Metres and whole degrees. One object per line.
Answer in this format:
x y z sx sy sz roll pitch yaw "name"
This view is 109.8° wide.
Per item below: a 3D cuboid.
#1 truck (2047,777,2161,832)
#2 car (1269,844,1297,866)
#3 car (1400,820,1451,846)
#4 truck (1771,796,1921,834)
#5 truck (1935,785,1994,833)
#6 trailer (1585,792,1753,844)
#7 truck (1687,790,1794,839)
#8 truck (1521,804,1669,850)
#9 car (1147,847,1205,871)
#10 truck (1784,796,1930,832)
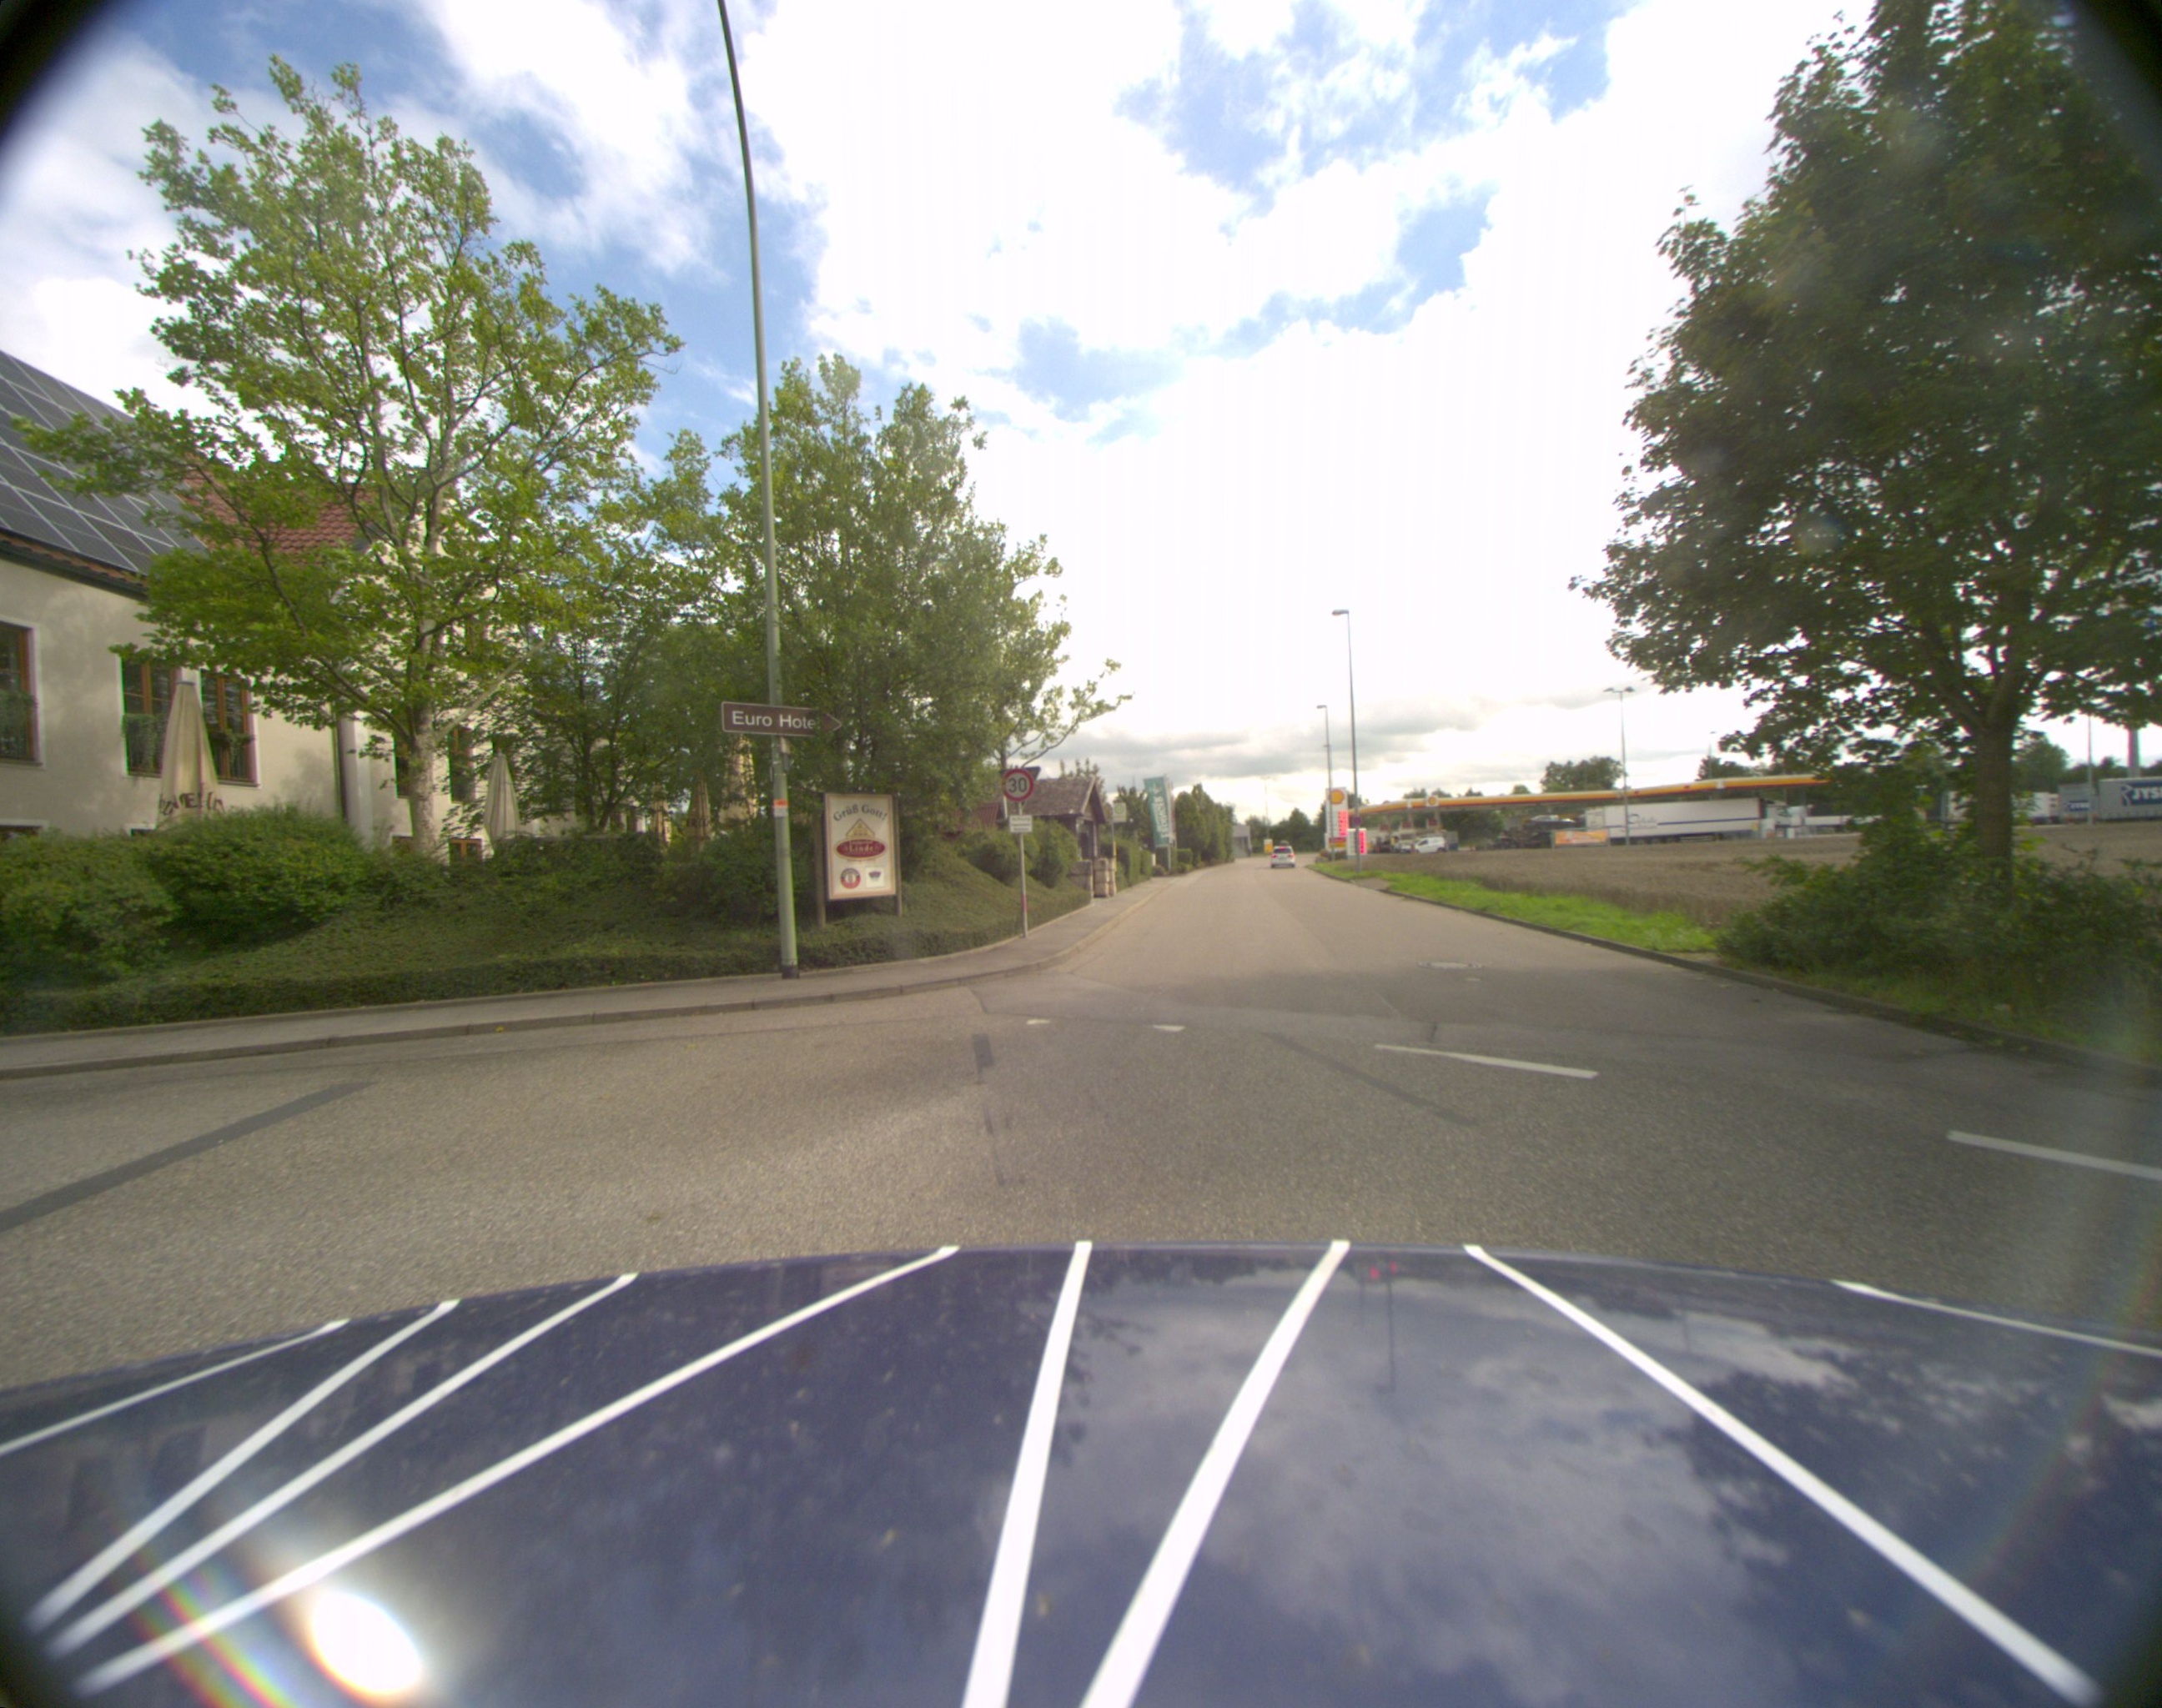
83.762 -3.985 57.909 15.445 3.871 2.824 -3 2 4 "truck"
15.548 0.053 58.658 1.701 1.655 4.035 -1 1 10 "car"
38.662 -2.369 85.235 5.817 2.770 2.219 -3 0 -30 "car"
93.676 -4.682 93.449 2.829 3.871 12.773 -4 2 -44 "truck"
83.955 -4.273 72.367 14.775 4.089 2.955 -4 2 -43 "truck"
53.349 -3.229 69.173 12.836 4.001 2.713 -3 0 2 "trailer"
59.780 -3.528 69.019 7.162 4.001 2.713 -3 0 2 "truck"
50.147 -2.647 74.233 13.255 3.901 2.750 -3 2 -6 "truck"
7.781 0.404 62.124 4.354 1.706 1.659 -3 0 20 "car"
99.280 -5.078 97.574 2.829 3.871 12.978 -4 2 -42 "truck"
